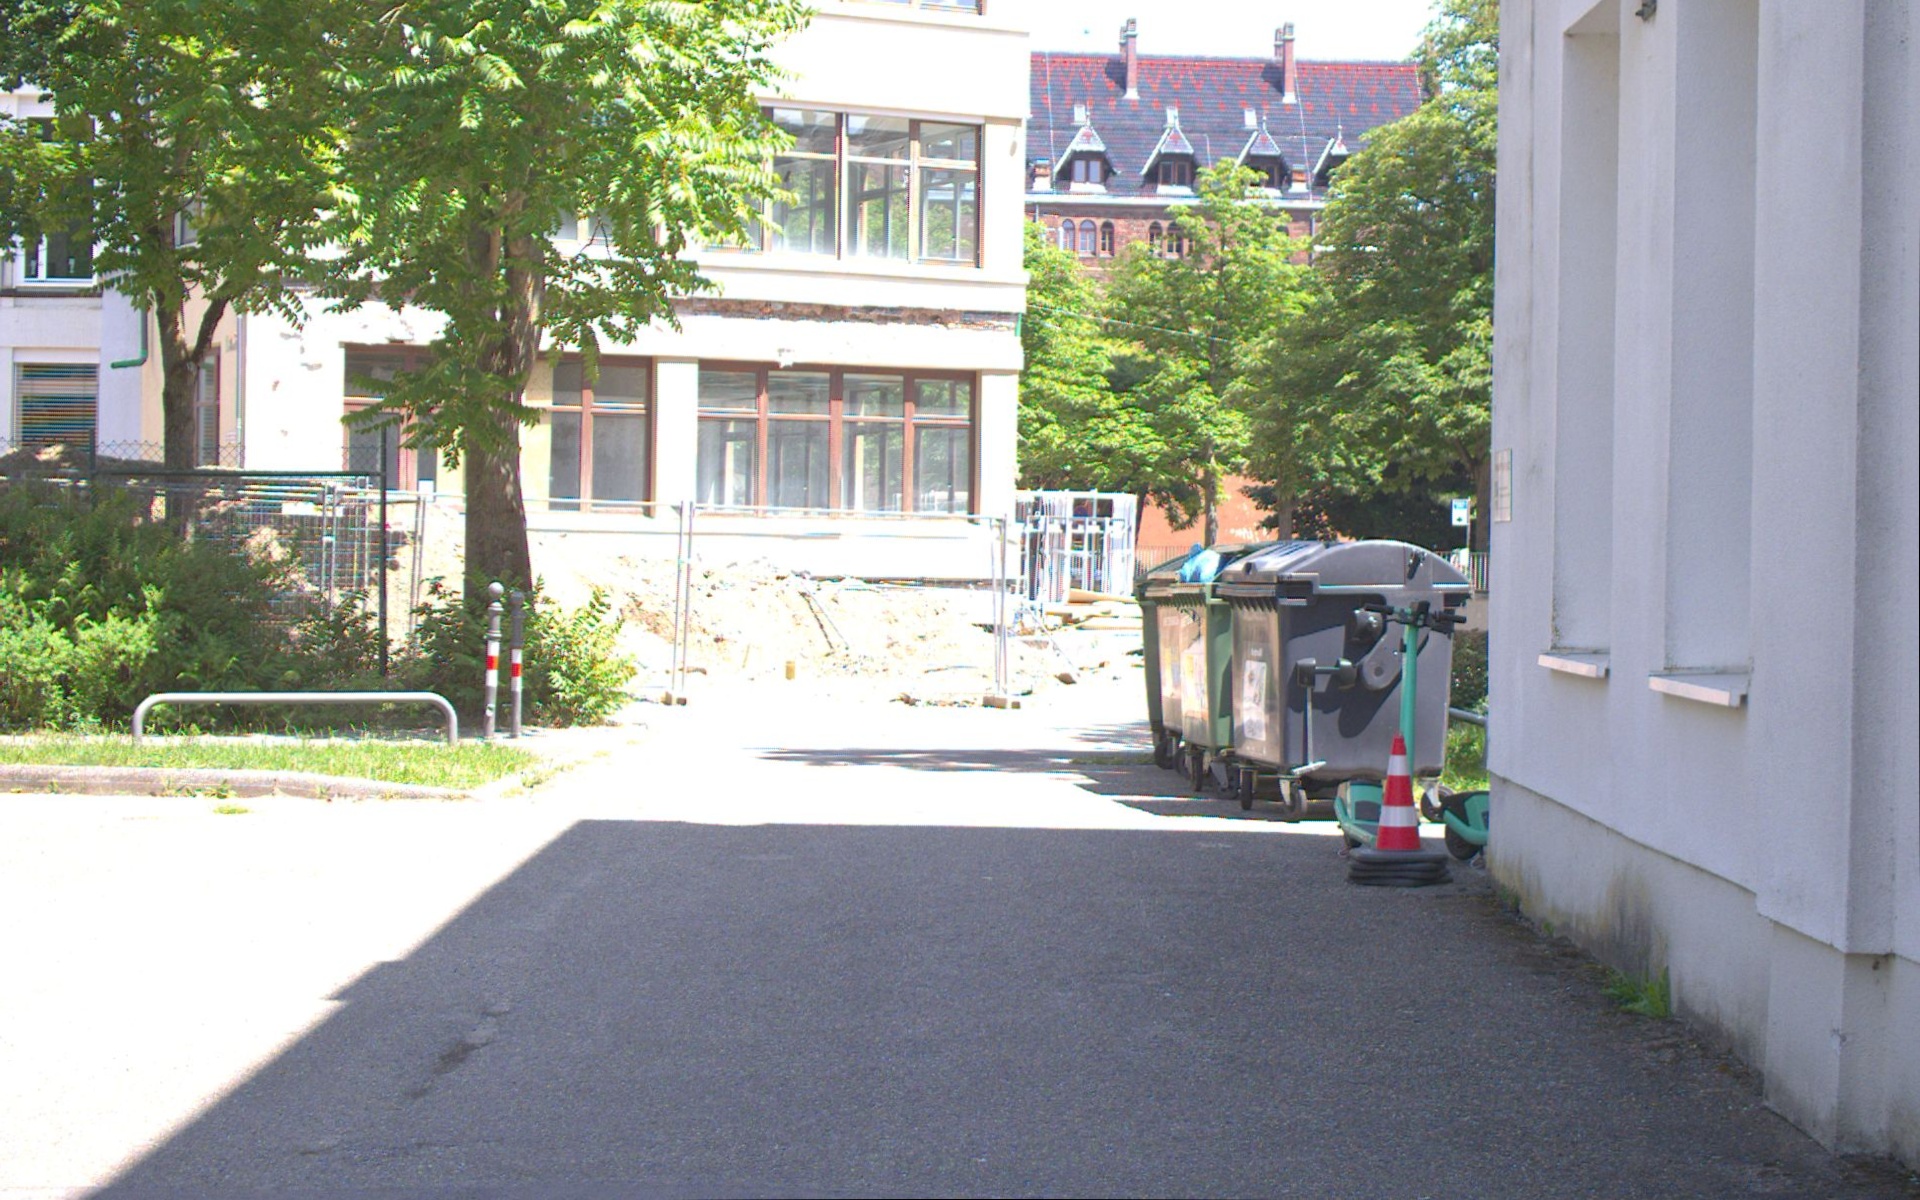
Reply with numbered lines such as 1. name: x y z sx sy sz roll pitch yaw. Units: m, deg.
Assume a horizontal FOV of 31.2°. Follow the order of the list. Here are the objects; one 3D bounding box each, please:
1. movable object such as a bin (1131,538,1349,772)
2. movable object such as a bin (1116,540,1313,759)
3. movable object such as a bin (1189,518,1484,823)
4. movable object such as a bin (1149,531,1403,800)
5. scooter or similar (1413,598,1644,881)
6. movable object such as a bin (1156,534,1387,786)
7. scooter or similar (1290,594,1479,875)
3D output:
1. movable object such as a bin: 1.816 0.352 22.540 1.178 1.465 1.312 2 0 -5
2. movable object such as a bin: 1.798 0.340 24.080 1.179 1.465 1.332 1 0 11
3. movable object such as a bin: 1.942 0.356 17.979 1.154 1.500 1.463 2 0 -9
4. movable object such as a bin: 1.791 0.366 19.714 1.178 1.465 1.312 2 0 -6
5. scooter or similar: 2.469 0.588 15.050 0.463 1.170 1.256 1 0 -17
6. movable object such as a bin: 1.892 0.358 21.099 1.179 1.465 1.312 2 0 -4
7. scooter or similar: 1.861 0.570 15.220 0.463 1.170 1.357 1 0 -8
